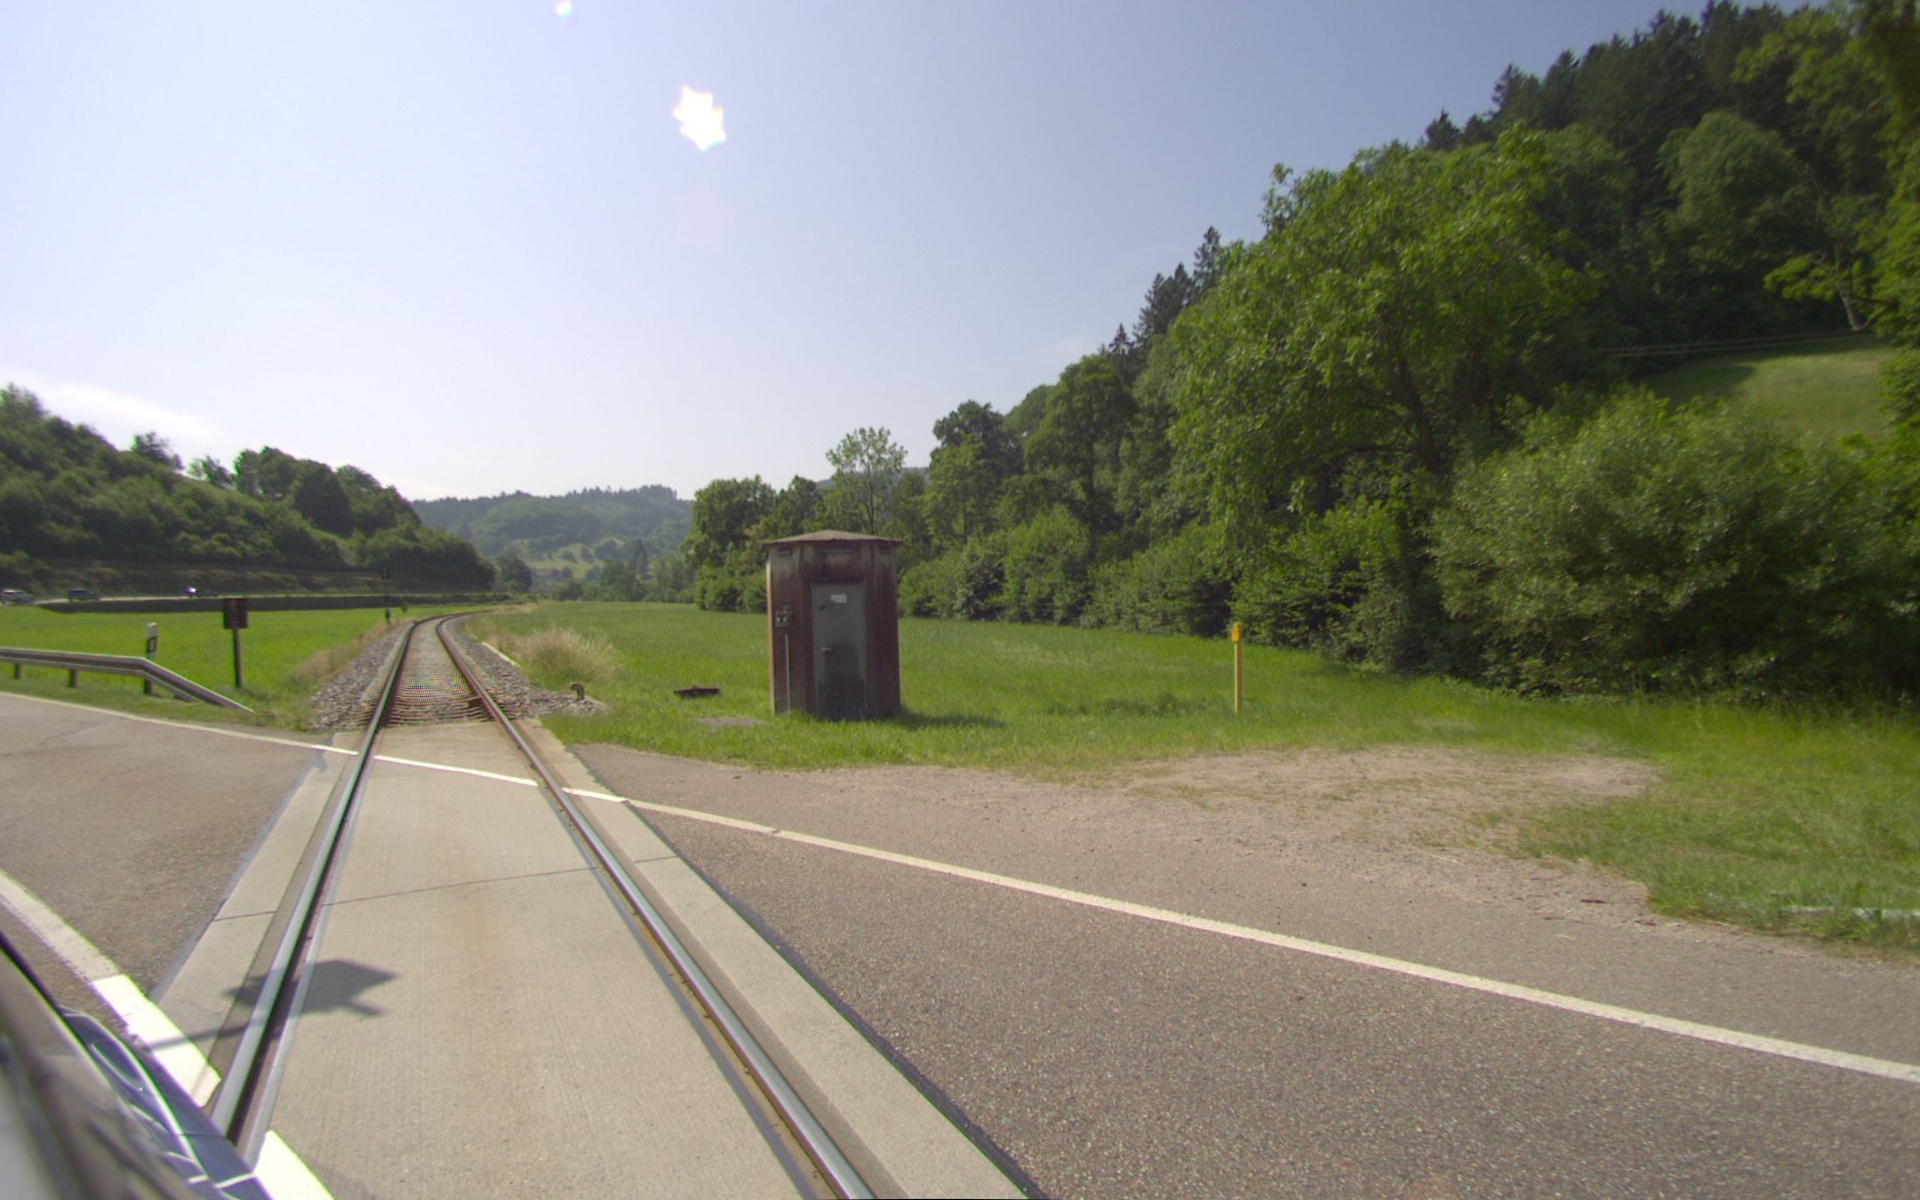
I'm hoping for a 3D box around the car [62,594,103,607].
[{"bbox_3d":[-121.580,0.043,140.253,1.844,1.635,4.515,5,1,-4],"label":"car"}]

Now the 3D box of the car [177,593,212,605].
[{"bbox_3d":[-122.305,-0.171,161.645,1.899,1.482,4.502,-5,-3,6],"label":"car"}]

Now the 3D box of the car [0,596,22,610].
[{"bbox_3d":[-120.862,0.392,127.573,1.891,1.727,4.167,0,-1,-9],"label":"car"}]
